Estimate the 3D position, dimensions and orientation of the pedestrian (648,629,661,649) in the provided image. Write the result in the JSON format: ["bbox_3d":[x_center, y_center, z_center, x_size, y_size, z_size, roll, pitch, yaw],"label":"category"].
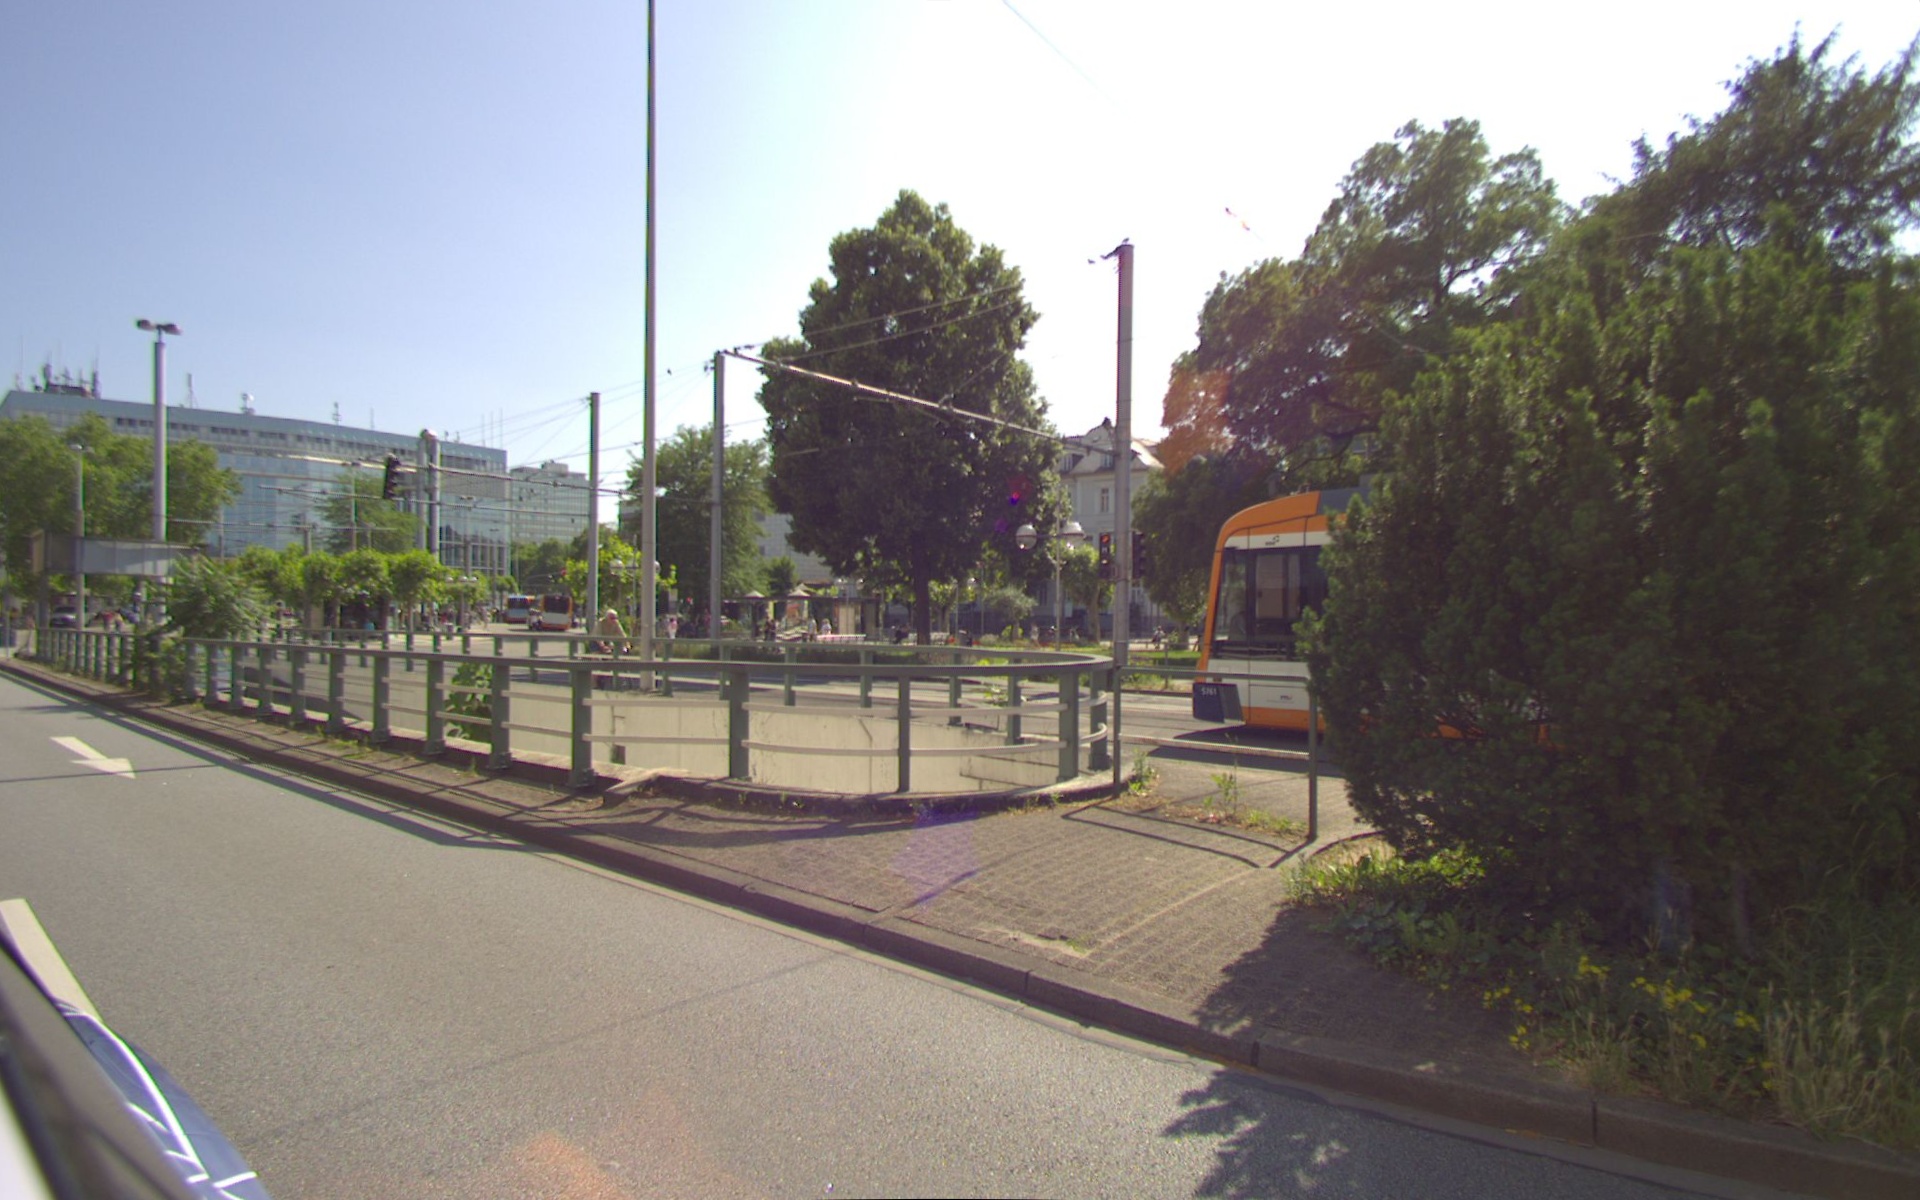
[{"bbox_3d":[-19.441,2.489,64.392,0.613,1.273,0.583,4,-5,-39],"label":"pedestrian"}]

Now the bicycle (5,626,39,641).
[{"bbox_3d":[-71.614,2.536,77.272,0.482,1.156,1.841,-1,-1,40],"label":"bicycle"}]

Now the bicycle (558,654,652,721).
[{"bbox_3d":[-6.627,1.612,18.866,1.874,1.129,0.809,-1,-4,42],"label":"bicycle"}]

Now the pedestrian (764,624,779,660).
[{"bbox_3d":[-8.537,1.910,45.768,0.494,1.621,0.409,-2,-5,40],"label":"pedestrian"}]

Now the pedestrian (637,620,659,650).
[{"bbox_3d":[-19.544,2.205,63.418,0.953,1.807,1.082,4,-5,-39],"label":"pedestrian"}]

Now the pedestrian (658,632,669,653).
[{"bbox_3d":[-18.126,2.602,61.893,0.479,1.273,0.400,0,-4,23],"label":"pedestrian"}]

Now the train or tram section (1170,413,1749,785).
[{"bbox_3d":[6.034,-0.003,12.835,6.101,3.608,2.586,-1,0,42],"label":"train or tram section"}]

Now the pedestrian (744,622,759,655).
[{"bbox_3d":[-12.994,2.404,63.050,0.621,2.023,0.736,4,-4,-43],"label":"pedestrian"}]

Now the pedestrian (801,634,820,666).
[{"bbox_3d":[-6.987,2.339,47.274,0.661,1.504,0.519,-2,-5,39],"label":"pedestrian"}]

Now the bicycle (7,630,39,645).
[{"bbox_3d":[-70.979,2.830,76.655,0.482,1.156,1.735,-1,-1,40],"label":"bicycle"}]

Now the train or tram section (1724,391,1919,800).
[{"bbox_3d":[10.567,-0.076,8.771,6.101,3.608,2.586,-1,0,42],"label":"train or tram section"}]

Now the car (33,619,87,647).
[{"bbox_3d":[-72.320,2.586,81.401,1.965,2.029,5.083,-1,0,-27],"label":"car"}]

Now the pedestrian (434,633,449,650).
[{"bbox_3d":[-31.698,2.543,61.867,0.580,1.008,0.627,-2,-5,44],"label":"pedestrian"}]

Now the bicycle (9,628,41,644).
[{"bbox_3d":[-70.576,2.713,76.369,0.482,1.156,1.735,-1,-1,40],"label":"bicycle"}]

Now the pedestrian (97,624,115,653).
[{"bbox_3d":[-52.683,2.383,62.436,0.582,1.747,0.524,0,-4,12],"label":"pedestrian"}]

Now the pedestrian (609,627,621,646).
[{"bbox_3d":[-27.122,2.883,79.518,0.615,1.477,0.681,5,-5,-43],"label":"pedestrian"}]

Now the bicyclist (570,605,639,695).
[{"bbox_3d":[-6.647,0.945,18.941,0.902,1.634,0.809,-2,-6,42],"label":"bicyclist"}]

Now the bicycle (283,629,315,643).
[{"bbox_3d":[-45.784,2.498,70.116,0.544,0.862,1.852,-1,0,29],"label":"bicycle"}]

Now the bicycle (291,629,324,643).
[{"bbox_3d":[-44.899,2.486,69.675,0.544,0.862,1.852,-1,0,29],"label":"bicycle"}]

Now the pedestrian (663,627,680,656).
[{"bbox_3d":[-17.206,2.467,60.325,0.705,1.719,0.669,-1,-4,41],"label":"pedestrian"}]

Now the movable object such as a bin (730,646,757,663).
[{"bbox_3d":[-9.838,2.468,46.077,0.800,0.760,0.897,-2,-5,42],"label":"movable object such as a bin"}]

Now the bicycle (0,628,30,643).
[{"bbox_3d":[-74.427,2.762,79.659,0.482,1.156,1.735,-1,-1,40],"label":"bicycle"}]

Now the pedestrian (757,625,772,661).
[{"bbox_3d":[-8.916,1.947,46.246,0.446,1.621,0.466,4,-5,-43],"label":"pedestrian"}]

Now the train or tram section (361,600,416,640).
[{"bbox_3d":[-59.176,2.017,104.953,2.578,3.856,9.546,-1,0,-15],"label":"train or tram section"}]

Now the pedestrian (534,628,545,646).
[{"bbox_3d":[-34.589,3.055,83.263,0.585,1.477,0.522,0,-4,22],"label":"pedestrian"}]

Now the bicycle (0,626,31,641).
[{"bbox_3d":[-73.129,2.600,78.327,0.482,1.156,1.735,-1,-1,40],"label":"bicycle"}]

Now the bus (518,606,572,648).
[{"bbox_3d":[-37.765,2.304,91.805,3.014,3.445,12.499,-1,0,-29],"label":"bus"}]

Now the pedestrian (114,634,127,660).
[{"bbox_3d":[-52.204,2.935,62.950,0.518,1.621,0.627,4,-5,-39],"label":"pedestrian"}]

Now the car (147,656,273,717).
[{"bbox_3d":[-20.099,2.285,27.073,3.996,1.415,1.678,-1,-6,39],"label":"car"}]

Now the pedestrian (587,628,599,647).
[{"bbox_3d":[-29.748,3.046,82.043,0.680,1.477,0.617,-2,-5,39],"label":"pedestrian"}]

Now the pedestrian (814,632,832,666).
[{"bbox_3d":[-6.536,2.328,48.329,0.619,1.621,0.488,-1,-4,35],"label":"pedestrian"}]
